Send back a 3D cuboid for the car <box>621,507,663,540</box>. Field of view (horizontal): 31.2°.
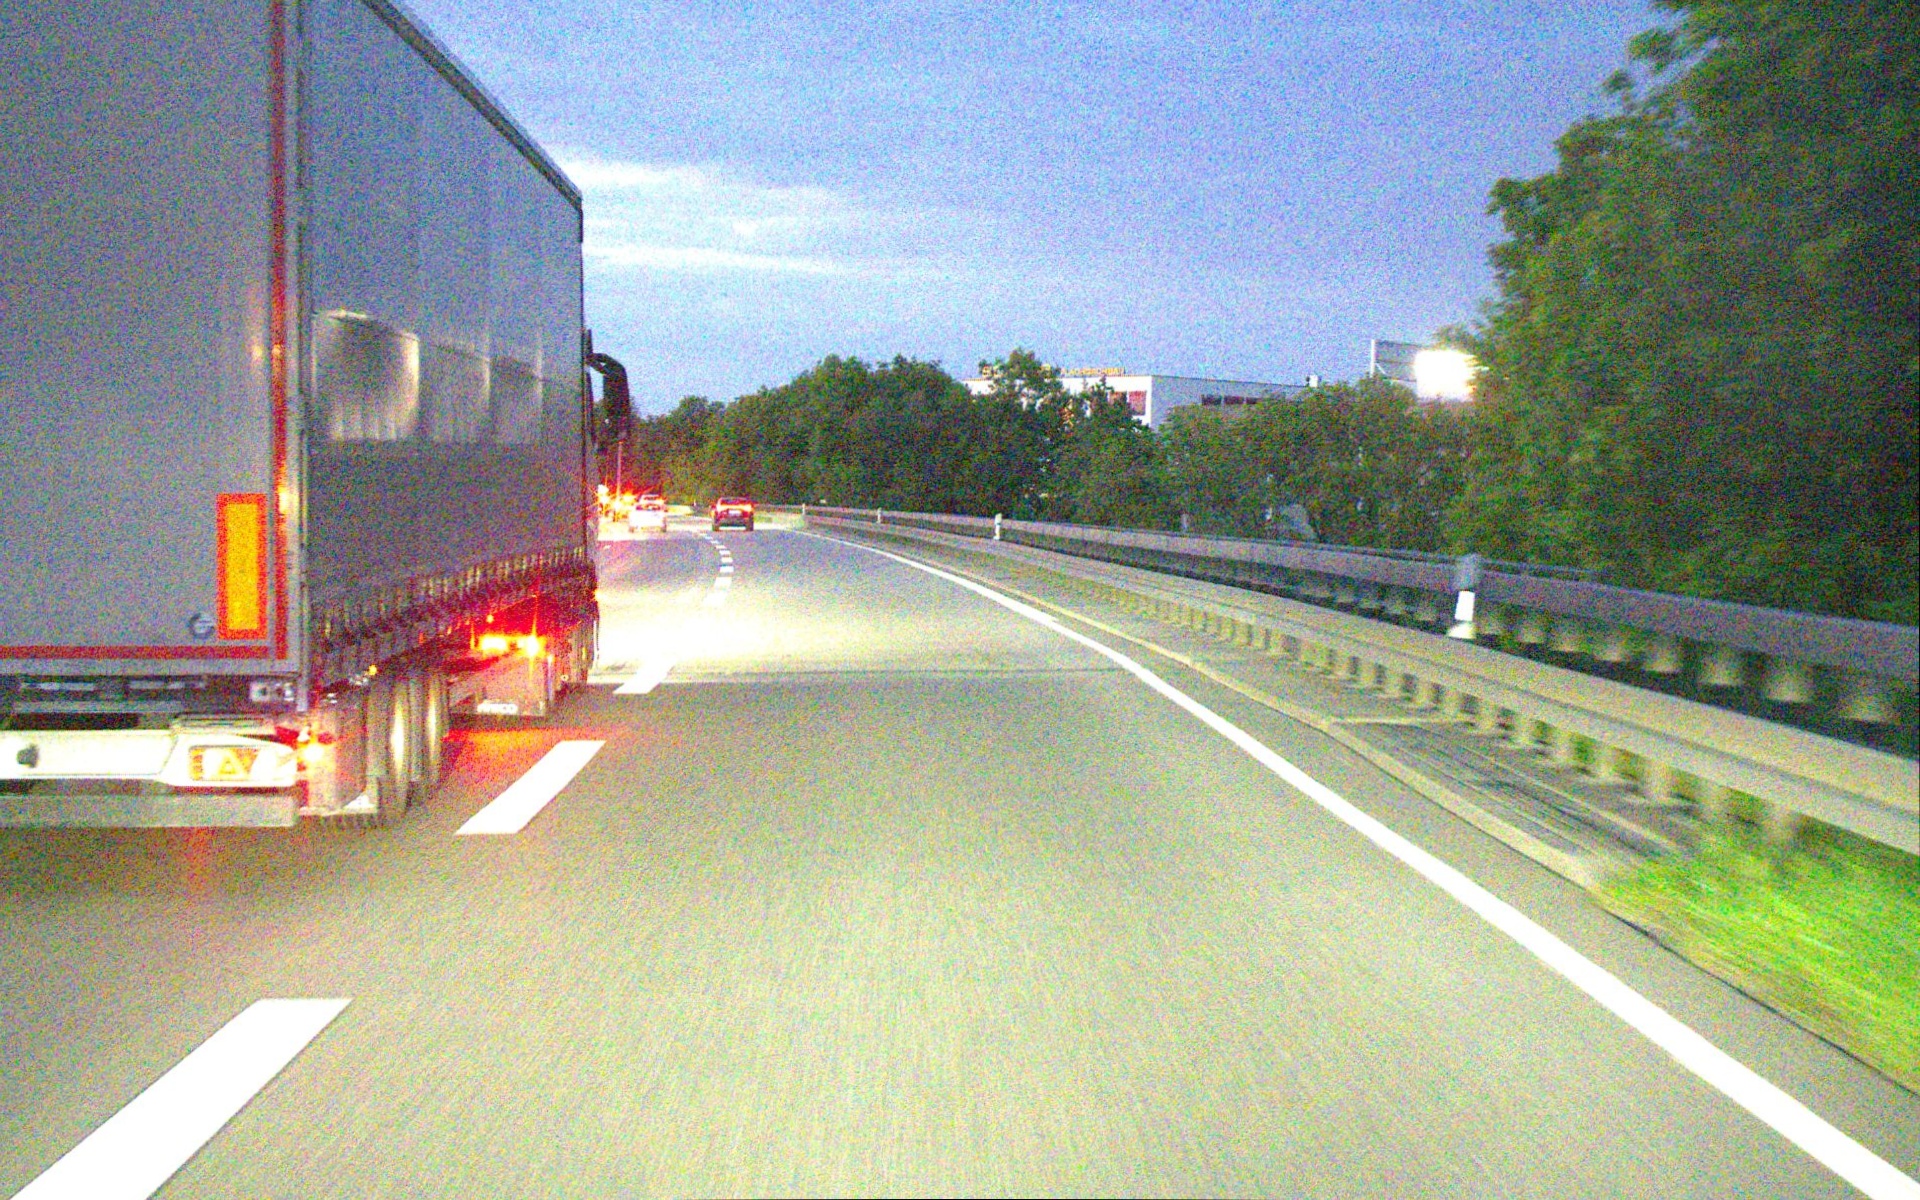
[{"bbox_3d":[-14.711,-3.517,159.102,1.884,1.349,4.000,1,-1,-5],"label":"car"}]

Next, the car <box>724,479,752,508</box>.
[{"bbox_3d":[-16.786,-8.041,260.196,1.993,2.007,4.000,1,-1,-5],"label":"car"}]

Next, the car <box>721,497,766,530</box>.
[{"bbox_3d":[-10.294,-4.093,163.204,1.993,1.349,4.000,1,-1,-5],"label":"car"}]

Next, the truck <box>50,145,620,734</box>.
[{"bbox_3d":[-4.636,-1.150,26.937,3.550,4.077,6.152,0,1,-2],"label":"truck"}]

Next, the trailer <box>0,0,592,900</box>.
[{"bbox_3d":[-4.420,-1.071,19.698,3.550,4.102,15.064,0,1,-2],"label":"trailer"}]

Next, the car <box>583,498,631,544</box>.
[{"bbox_3d":[-16.888,-3.766,164.675,1.993,2.007,4.000,1,-1,-2],"label":"car"}]
